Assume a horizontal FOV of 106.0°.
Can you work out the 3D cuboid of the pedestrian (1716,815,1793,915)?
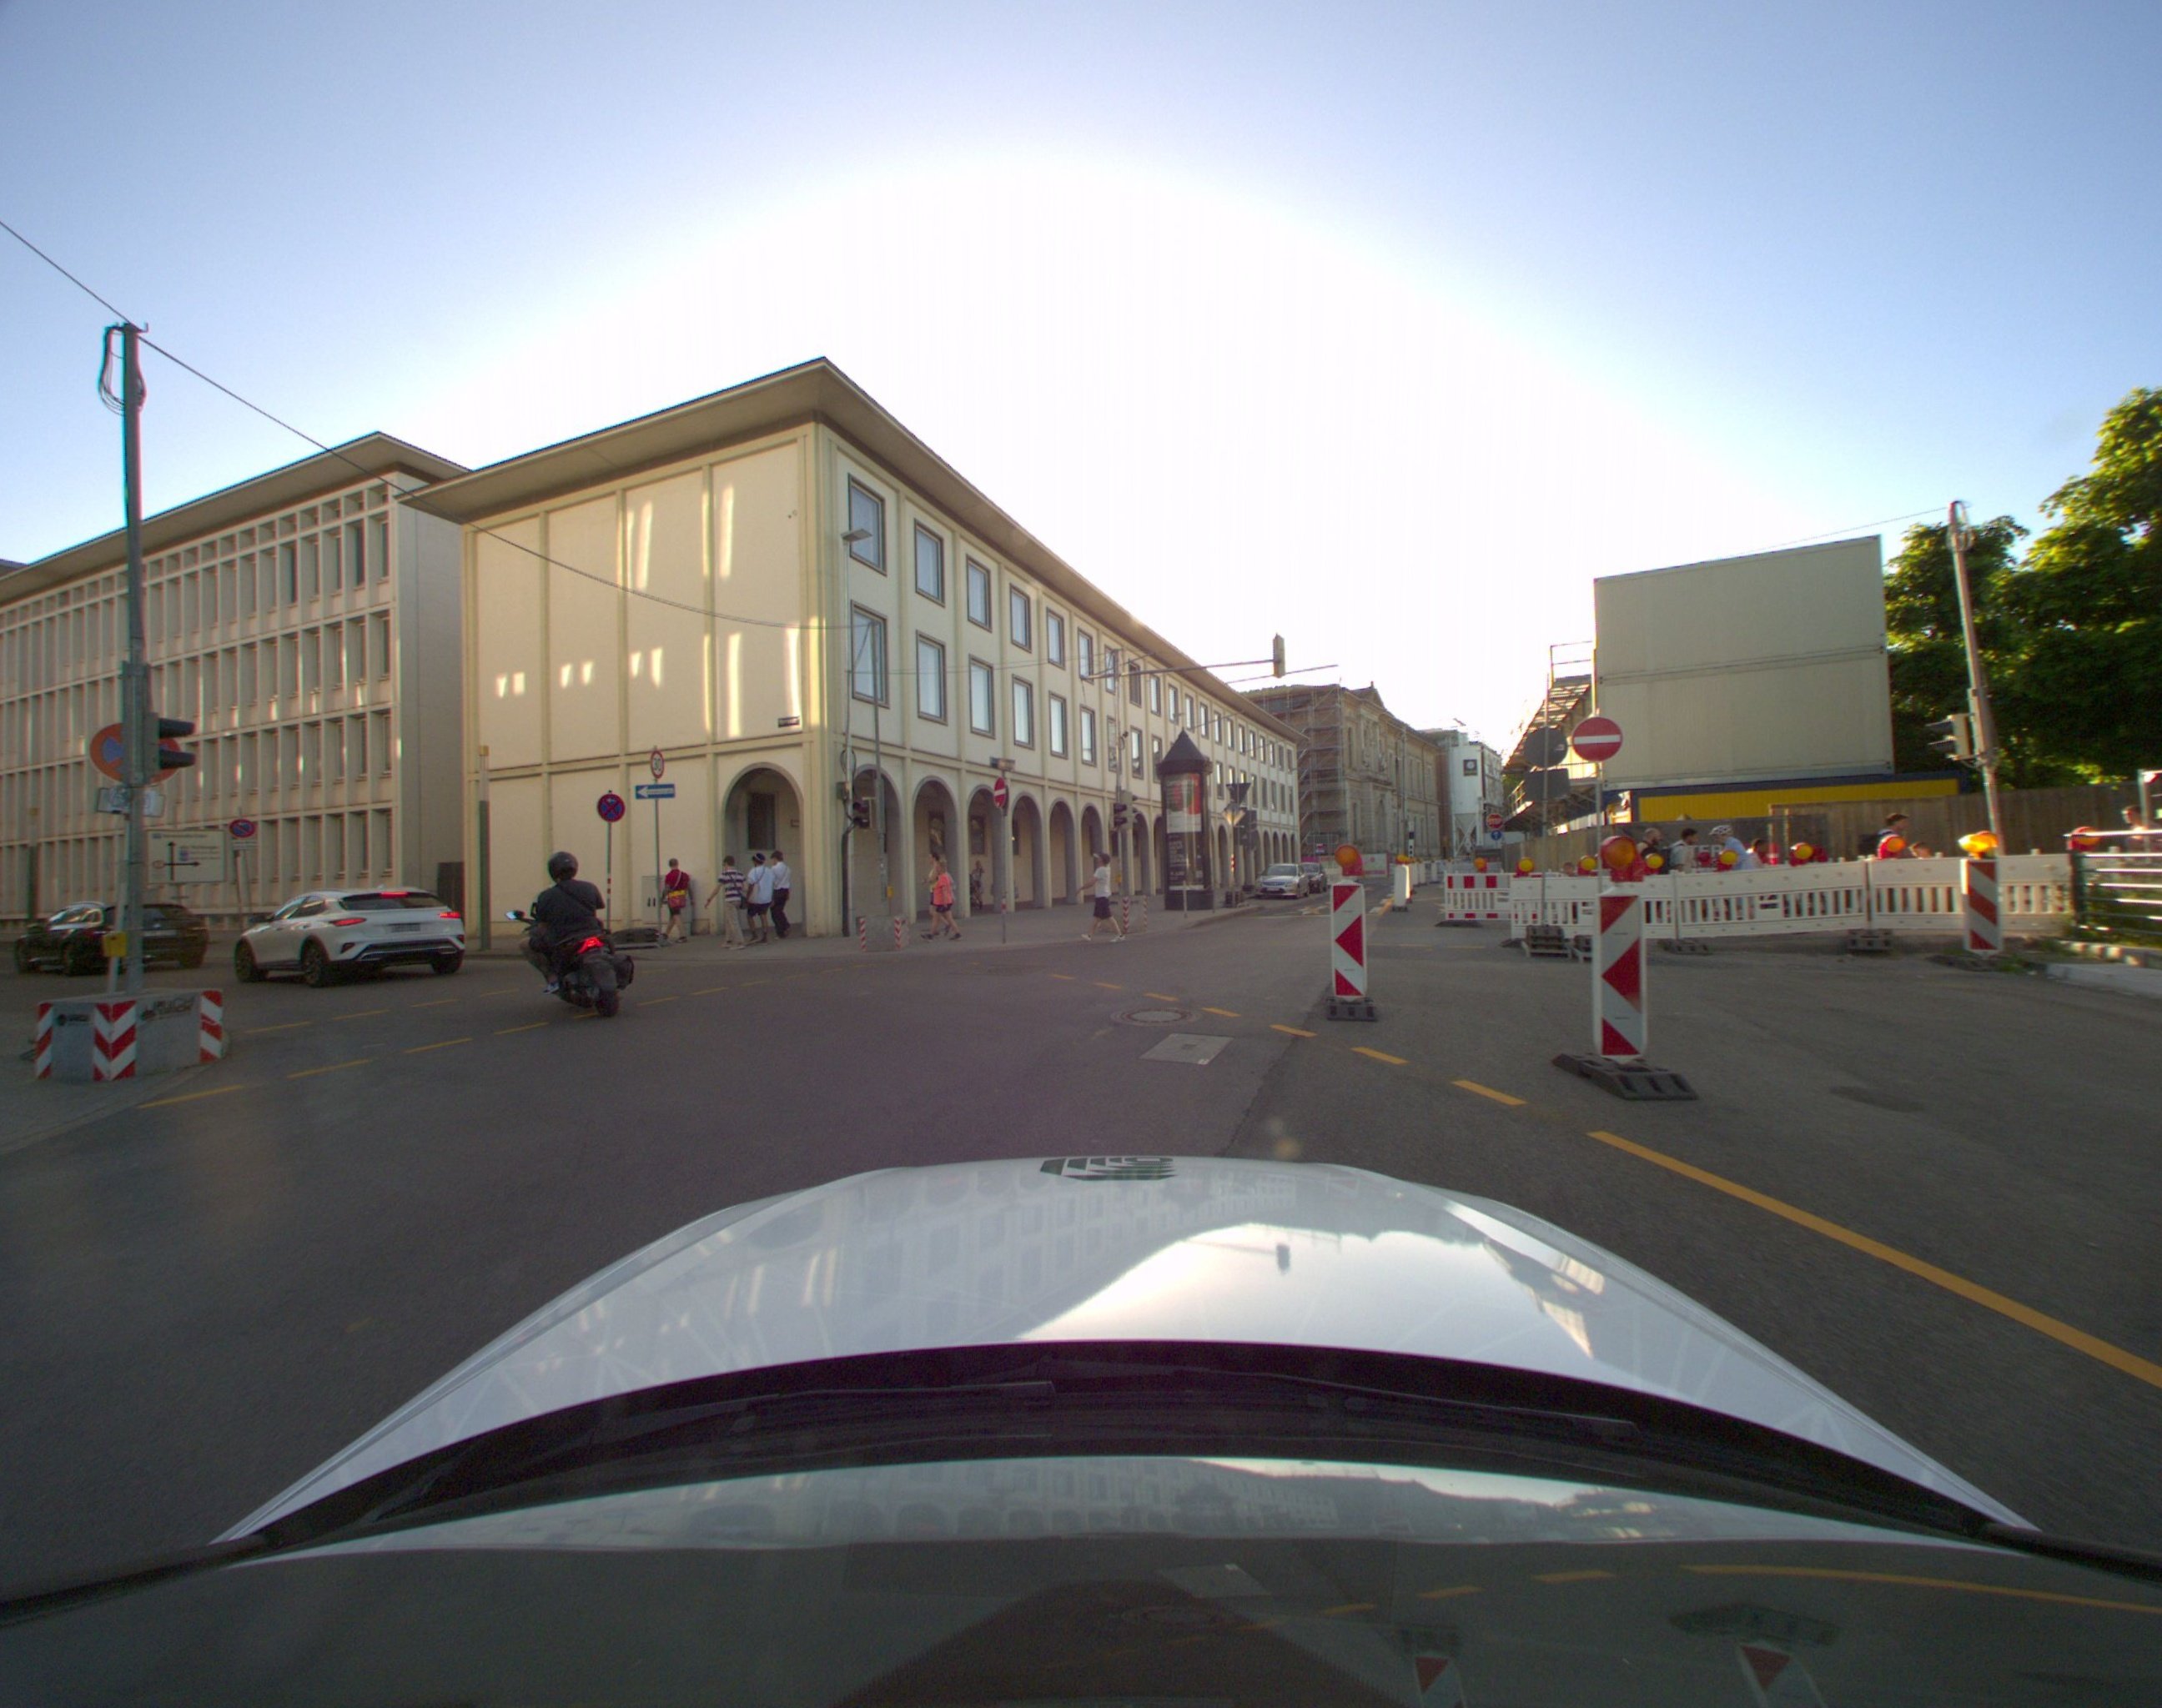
[{"bbox_3d":[11.419,0.189,13.831,0.761,1.619,0.670,-4,-1,25],"label":"pedestrian"}]

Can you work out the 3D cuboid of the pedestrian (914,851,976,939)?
[{"bbox_3d":[-2.775,0.829,16.675,0.956,1.709,0.679,-2,2,22],"label":"pedestrian"}]

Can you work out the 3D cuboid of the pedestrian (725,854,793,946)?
[{"bbox_3d":[-6.507,0.923,16.485,0.930,1.777,0.715,-3,1,22],"label":"pedestrian"}]

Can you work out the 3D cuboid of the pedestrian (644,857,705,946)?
[{"bbox_3d":[-8.574,0.989,17.198,0.766,1.801,0.715,-3,1,22],"label":"pedestrian"}]

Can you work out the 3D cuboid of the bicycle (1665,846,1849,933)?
[{"bbox_3d":[9.836,0.524,11.931,1.974,1.201,0.480,-2,-1,25],"label":"bicycle"}]

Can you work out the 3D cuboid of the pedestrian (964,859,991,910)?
[{"bbox_3d":[-3.456,1.021,27.256,0.613,1.624,0.730,-2,2,14],"label":"pedestrian"}]

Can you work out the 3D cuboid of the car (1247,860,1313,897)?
[{"bbox_3d":[8.499,1.033,34.567,1.907,1.466,4.023,-1,-2,26],"label":"car"}]

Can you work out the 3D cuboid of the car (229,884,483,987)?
[{"bbox_3d":[-11.998,1.289,13.471,3.949,1.472,1.876,-3,-3,28],"label":"car"}]

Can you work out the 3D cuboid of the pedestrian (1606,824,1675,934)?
[{"bbox_3d":[9.143,0.407,13.331,0.730,1.716,0.625,-4,-1,25],"label":"pedestrian"}]

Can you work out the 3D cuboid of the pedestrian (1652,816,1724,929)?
[{"bbox_3d":[9.946,0.307,13.368,0.730,1.771,0.625,-4,-1,25],"label":"pedestrian"}]

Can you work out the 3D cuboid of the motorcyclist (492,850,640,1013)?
[{"bbox_3d":[-5.490,0.775,8.683,1.223,1.559,0.963,-3,-1,40],"label":"motorcyclist"}]

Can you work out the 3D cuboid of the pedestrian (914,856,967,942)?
[{"bbox_3d":[-2.760,0.883,16.024,0.718,1.624,0.623,-2,2,22],"label":"pedestrian"}]

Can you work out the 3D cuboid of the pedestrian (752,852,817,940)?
[{"bbox_3d":[-6.242,0.874,17.154,0.930,1.777,0.715,-3,1,22],"label":"pedestrian"}]

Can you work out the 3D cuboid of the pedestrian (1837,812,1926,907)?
[{"bbox_3d":[12.955,0.087,13.208,0.761,1.462,0.670,-4,-1,25],"label":"pedestrian"}]

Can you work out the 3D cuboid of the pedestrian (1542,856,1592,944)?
[{"bbox_3d":[7.481,0.691,12.562,0.612,1.300,0.496,0,0,25],"label":"pedestrian"}]

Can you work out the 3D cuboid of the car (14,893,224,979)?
[{"bbox_3d":[-20.362,1.696,17.234,4.056,1.550,1.790,-3,-1,24],"label":"car"}]

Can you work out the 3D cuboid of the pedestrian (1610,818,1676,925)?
[{"bbox_3d":[9.779,0.302,14.211,0.730,1.771,0.728,-4,-1,25],"label":"pedestrian"}]

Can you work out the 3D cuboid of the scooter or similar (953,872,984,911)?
[{"bbox_3d":[-3.648,1.198,26.428,0.613,1.157,0.962,-2,2,14],"label":"scooter or similar"}]

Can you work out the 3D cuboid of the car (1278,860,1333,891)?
[{"bbox_3d":[11.252,1.080,40.628,1.907,1.466,4.023,-1,-2,26],"label":"car"}]

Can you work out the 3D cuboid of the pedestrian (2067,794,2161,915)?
[{"bbox_3d":[14.531,0.006,11.331,0.730,1.604,0.647,-4,-1,25],"label":"pedestrian"}]

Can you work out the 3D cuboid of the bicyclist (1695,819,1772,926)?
[{"bbox_3d":[9.619,0.272,12.032,0.695,1.516,0.690,-2,-1,26],"label":"bicyclist"}]

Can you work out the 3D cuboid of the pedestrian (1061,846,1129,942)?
[{"bbox_3d":[0.277,0.759,15.488,0.966,1.728,0.802,-4,-2,22],"label":"pedestrian"}]

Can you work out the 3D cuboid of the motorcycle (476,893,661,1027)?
[{"bbox_3d":[-5.549,1.054,8.730,2.545,1.183,0.914,-3,-1,40],"label":"motorcycle"}]

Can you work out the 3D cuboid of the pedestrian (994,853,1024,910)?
[{"bbox_3d":[-2.410,0.913,27.249,0.635,1.840,0.731,-2,2,21],"label":"pedestrian"}]

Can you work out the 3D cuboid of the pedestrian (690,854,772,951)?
[{"bbox_3d":[-6.867,0.948,15.990,1.232,1.801,0.720,-3,1,22],"label":"pedestrian"}]
